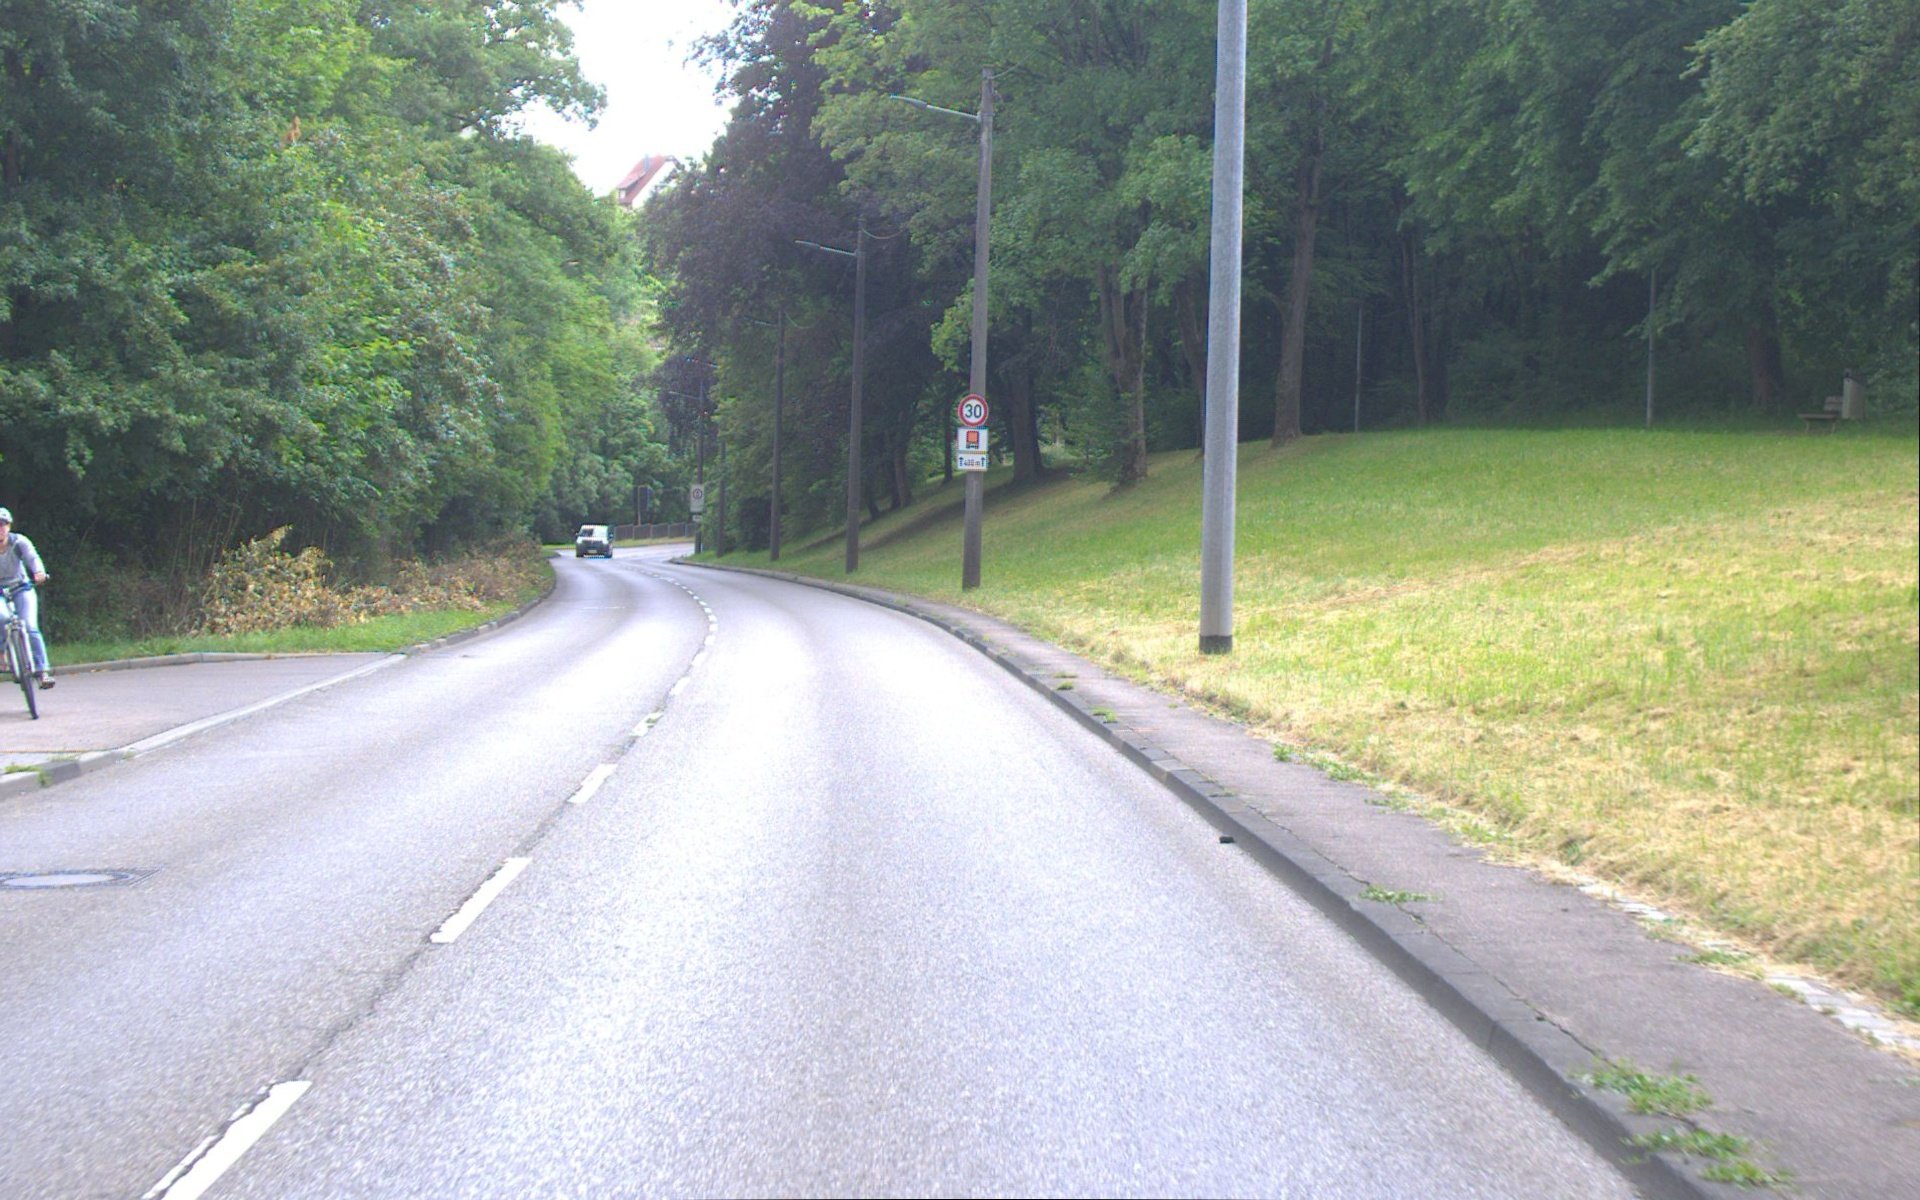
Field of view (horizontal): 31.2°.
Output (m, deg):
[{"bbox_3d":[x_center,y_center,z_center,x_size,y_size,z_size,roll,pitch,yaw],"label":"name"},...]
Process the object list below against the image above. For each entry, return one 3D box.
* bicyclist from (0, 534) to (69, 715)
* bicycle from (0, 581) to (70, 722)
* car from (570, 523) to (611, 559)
[{"bbox_3d":[-7.561,0.185,27.488,0.826,1.423,0.782,1,1,-14],"label":"bicyclist"},{"bbox_3d":[-7.532,0.382,27.378,0.828,1.033,2.444,2,1,-14],"label":"bicycle"},{"bbox_3d":[-21.466,-3.442,199.937,1.993,2.007,4.000,2,0,-1],"label":"car"}]
